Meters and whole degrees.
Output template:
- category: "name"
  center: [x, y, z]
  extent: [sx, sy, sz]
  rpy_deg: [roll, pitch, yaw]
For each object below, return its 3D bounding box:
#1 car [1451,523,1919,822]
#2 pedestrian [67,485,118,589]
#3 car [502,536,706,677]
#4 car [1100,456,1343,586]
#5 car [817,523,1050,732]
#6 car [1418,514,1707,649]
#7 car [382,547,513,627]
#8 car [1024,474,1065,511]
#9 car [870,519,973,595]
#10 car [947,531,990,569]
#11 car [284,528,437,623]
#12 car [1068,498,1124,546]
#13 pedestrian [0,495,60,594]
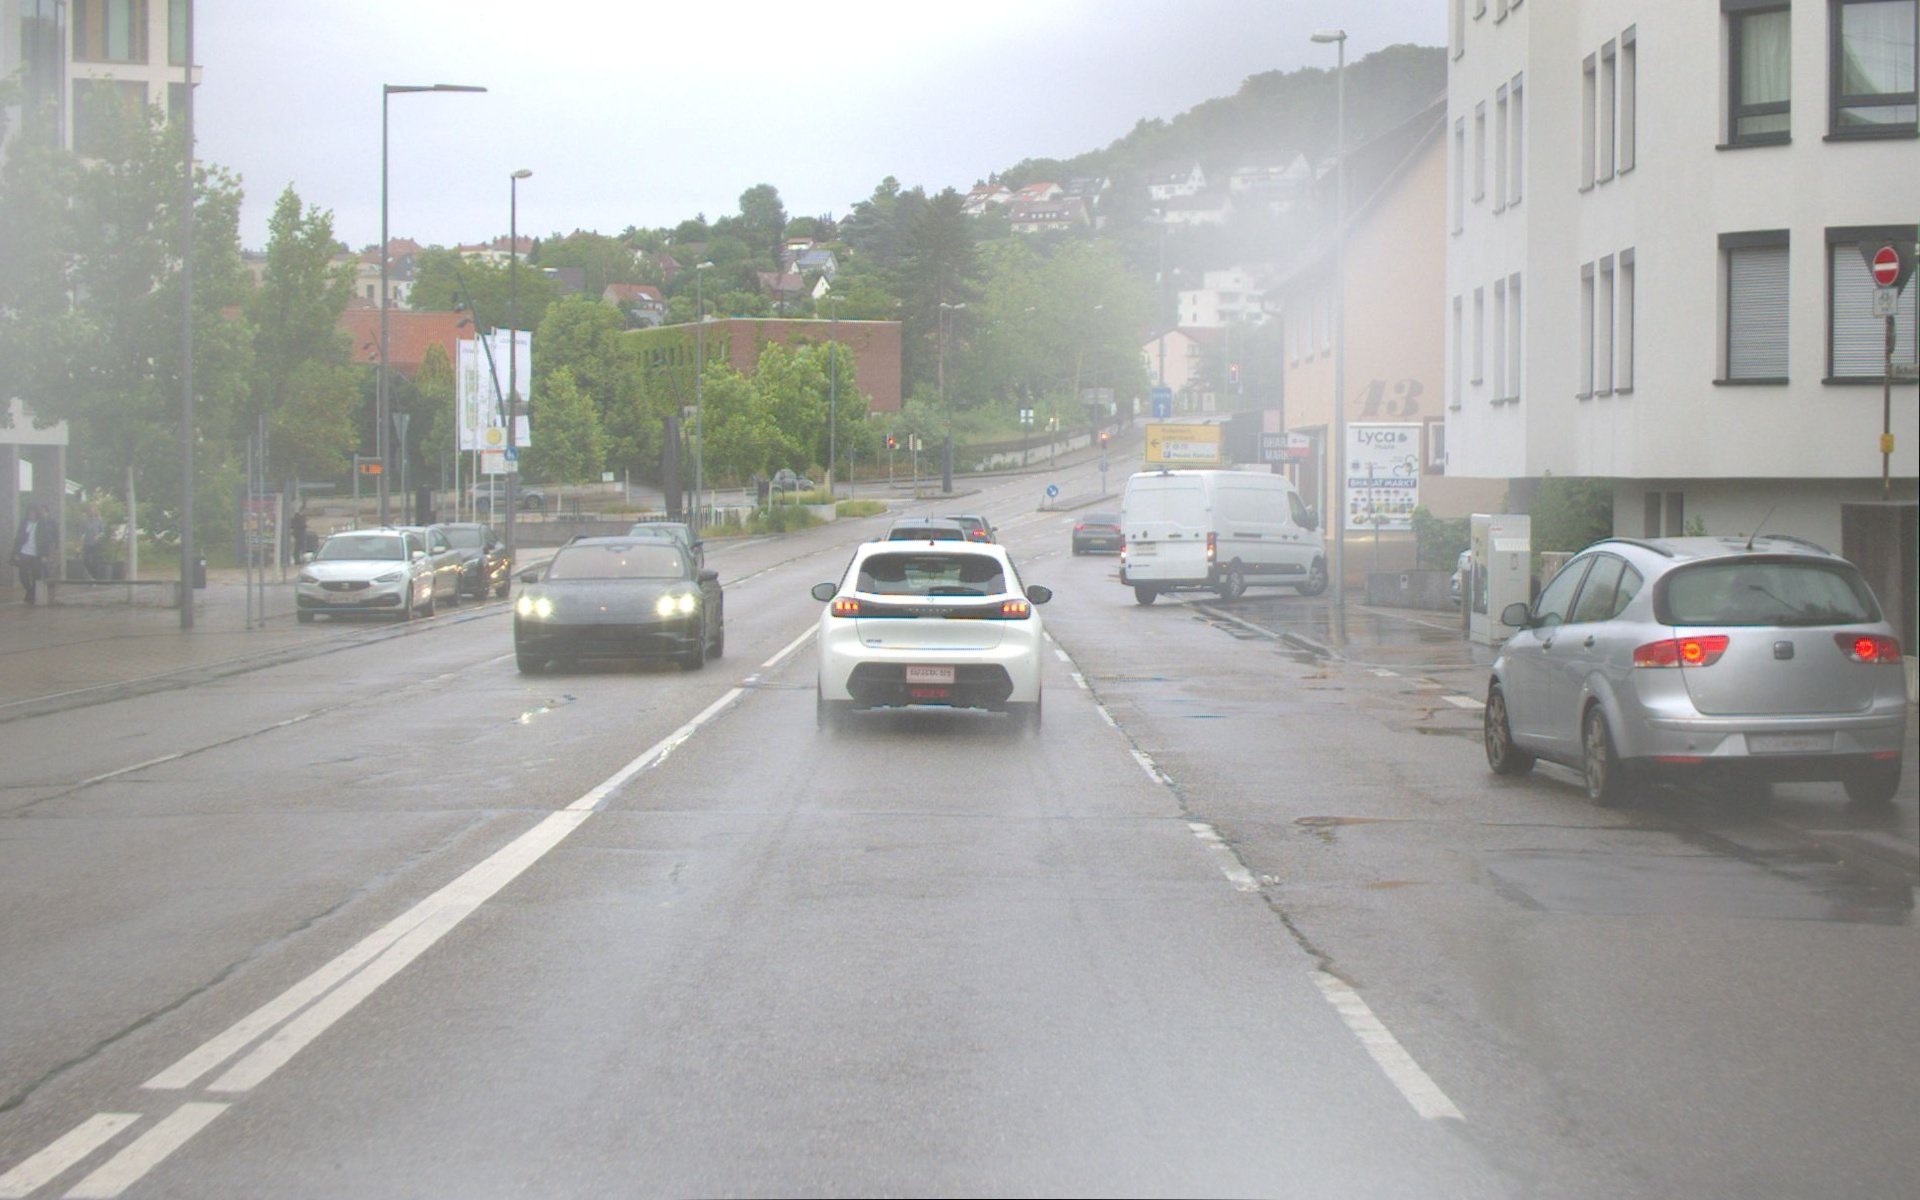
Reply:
- category: "car"
  center: [4.388, 0.415, 20.893]
  extent: [2.011, 1.616, 4.361]
  rpy_deg: [0, -1, -2]
- category: "pedestrian"
  center: [-17.955, -1.297, 71.138]
  extent: [0.748, 2.138, 0.770]
  rpy_deg: [0, 0, 13]
- category: "car"
  center: [-3.782, 0.048, 37.181]
  extent: [1.768, 1.409, 4.526]
  rpy_deg: [-1, 0, -1]
- category: "car"
  center: [5.173, -1.509, 66.839]
  extent: [2.294, 2.374, 6.615]
  rpy_deg: [-1, 0, 27]
- category: "car"
  center: [-0.223, 0.185, 27.040]
  extent: [1.691, 1.514, 3.933]
  rpy_deg: [0, 0, -1]
- category: "car"
  center: [8.847, -0.289, 50.714]
  extent: [3.791, 1.524, 1.820]
  rpy_deg: [6, 2, -1]
- category: "car"
  center: [-10.045, -0.269, 67.657]
  extent: [1.691, 1.505, 4.577]
  rpy_deg: [-1, 0, 3]
- category: "car"
  center: [4.125, -5.233, 167.626]
  extent: [1.844, 1.707, 3.771]
  rpy_deg: [-1, 0, -1]
- category: "car"
  center: [-0.661, -0.785, 61.374]
  extent: [1.741, 1.291, 3.334]
  rpy_deg: [-1, 1, 1]
- category: "car"
  center: [0.265, -1.530, 105.863]
  extent: [1.213, 1.152, 2.270]
  rpy_deg: [0, 0, -2]
- category: "car"
  center: [-9.595, -0.397, 55.307]
  extent: [1.795, 1.457, 4.479]
  rpy_deg: [0, 0, -2]
- category: "car"
  center: [4.654, -2.687, 118.118]
  extent: [1.734, 1.383, 3.353]
  rpy_deg: [1, 5, -1]
- category: "pedestrian"
  center: [-16.479, -0.973, 60.869]
  extent: [0.808, 1.732, 1.003]
  rpy_deg: [-1, 0, -1]
